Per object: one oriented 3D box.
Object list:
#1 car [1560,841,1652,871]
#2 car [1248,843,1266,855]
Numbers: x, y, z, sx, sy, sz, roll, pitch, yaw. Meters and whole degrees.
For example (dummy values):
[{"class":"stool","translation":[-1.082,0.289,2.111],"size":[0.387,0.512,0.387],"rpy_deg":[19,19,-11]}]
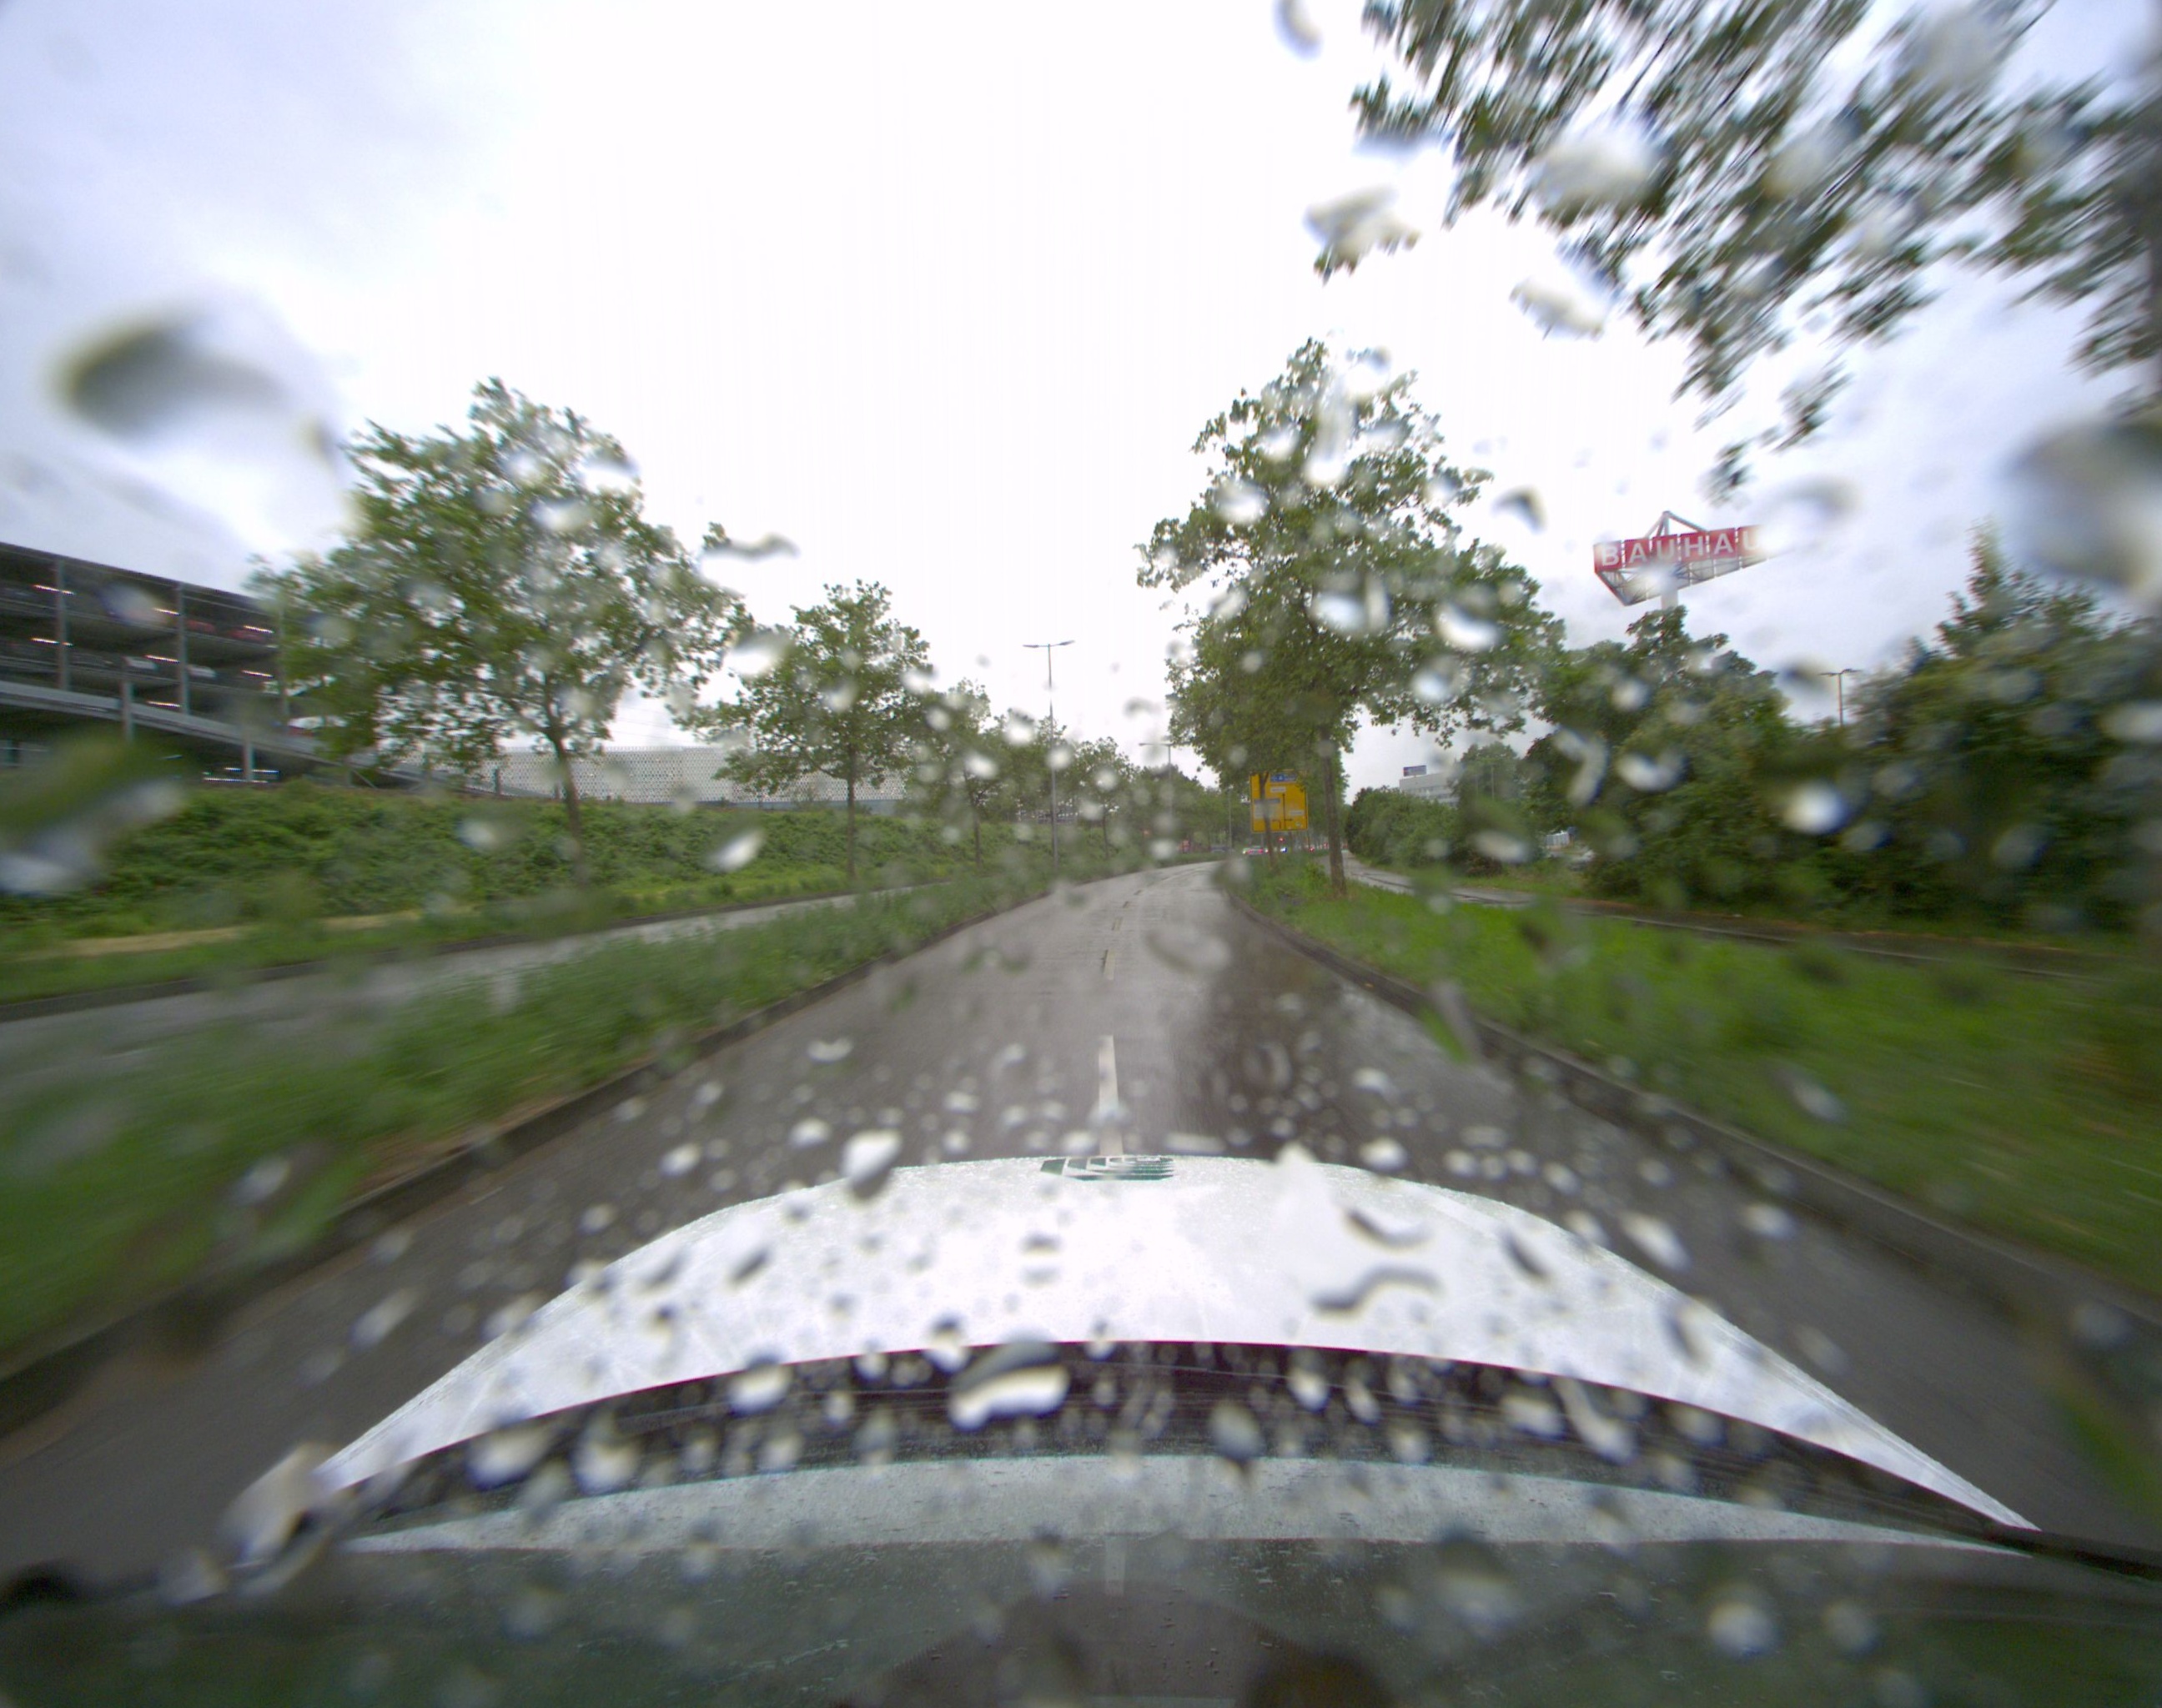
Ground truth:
[{"class":"car","translation":[27.011,0.103,41.877],"size":[4.296,1.371,1.743],"rpy_deg":[-2,0,-20]},{"class":"car","translation":[22.067,-0.570,102.076],"size":[1.676,1.433,4.596],"rpy_deg":[-1,0,19]}]
